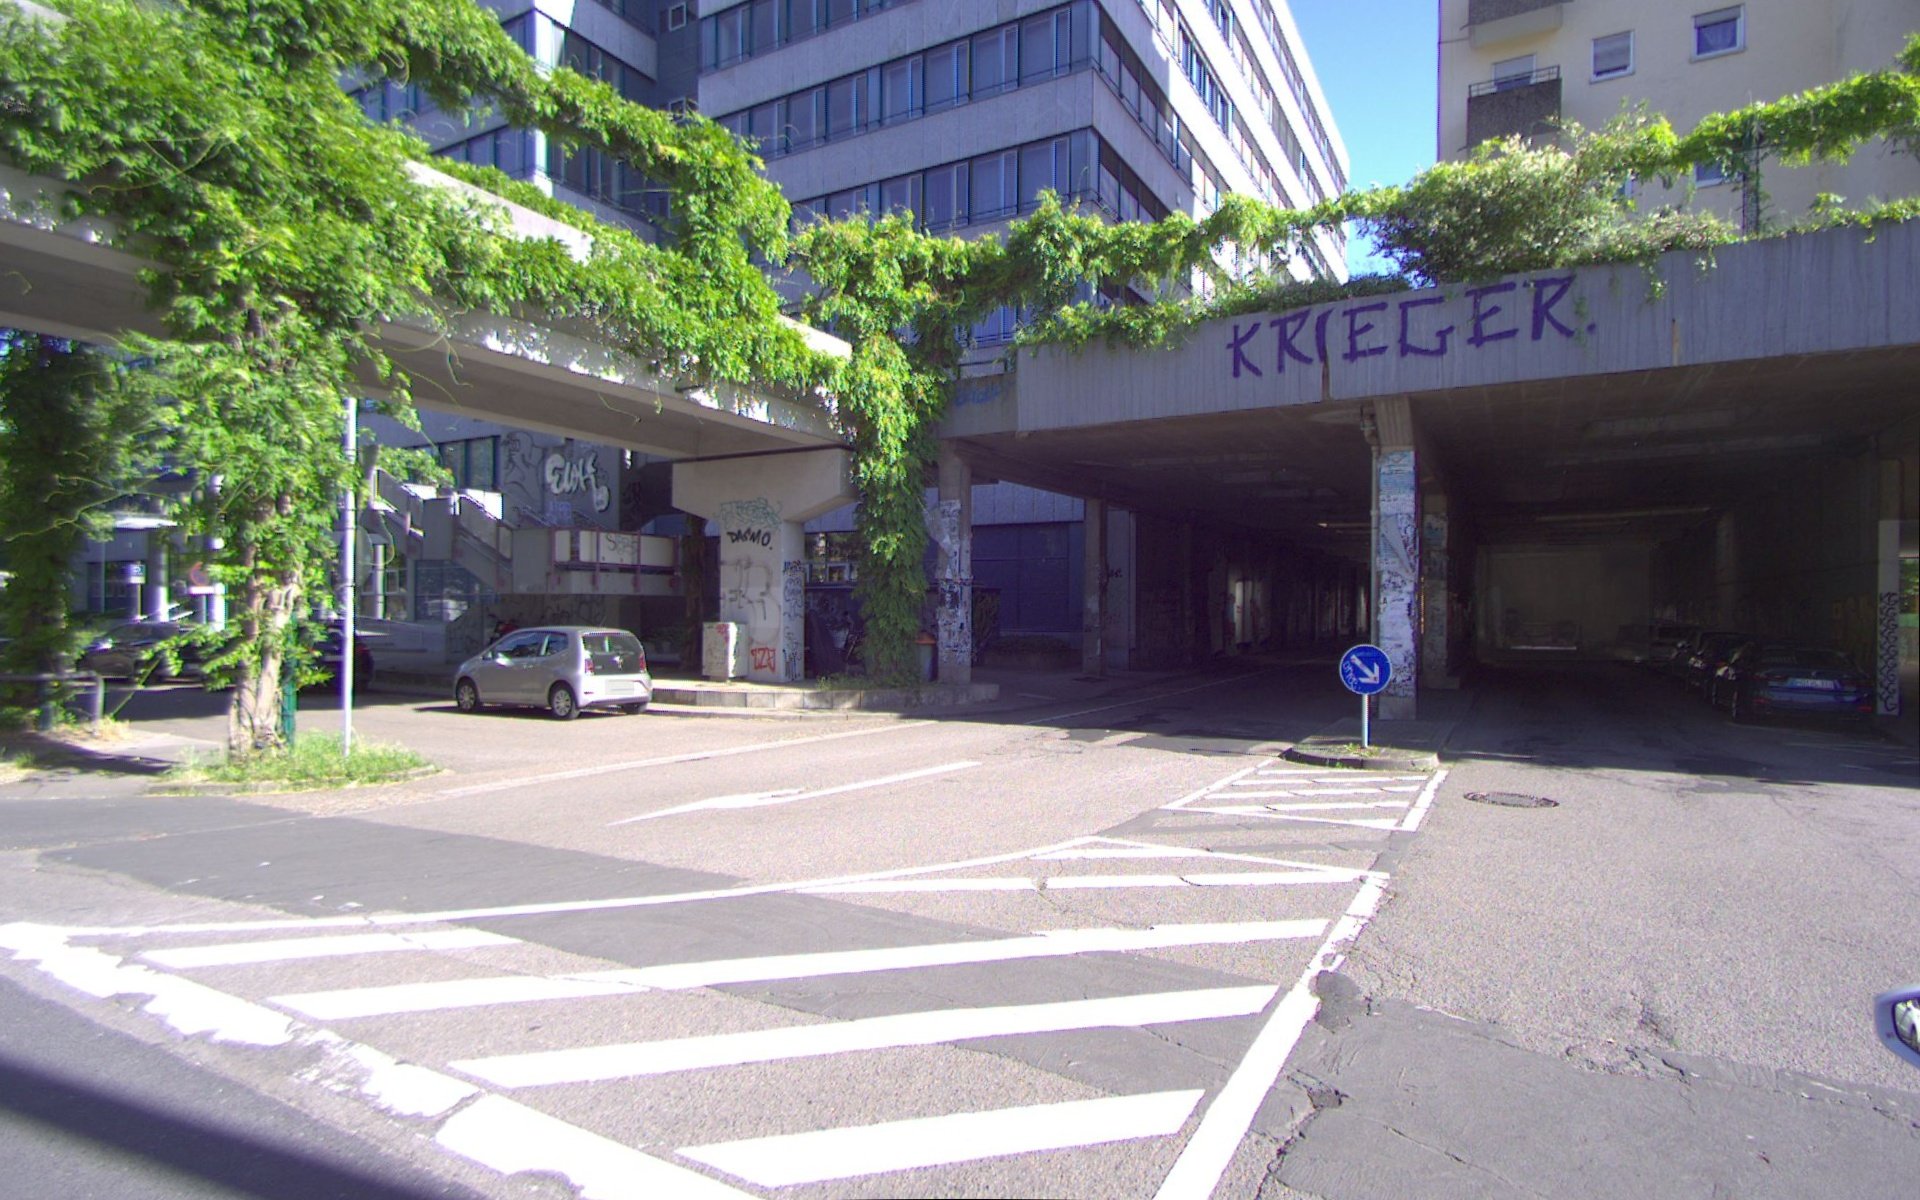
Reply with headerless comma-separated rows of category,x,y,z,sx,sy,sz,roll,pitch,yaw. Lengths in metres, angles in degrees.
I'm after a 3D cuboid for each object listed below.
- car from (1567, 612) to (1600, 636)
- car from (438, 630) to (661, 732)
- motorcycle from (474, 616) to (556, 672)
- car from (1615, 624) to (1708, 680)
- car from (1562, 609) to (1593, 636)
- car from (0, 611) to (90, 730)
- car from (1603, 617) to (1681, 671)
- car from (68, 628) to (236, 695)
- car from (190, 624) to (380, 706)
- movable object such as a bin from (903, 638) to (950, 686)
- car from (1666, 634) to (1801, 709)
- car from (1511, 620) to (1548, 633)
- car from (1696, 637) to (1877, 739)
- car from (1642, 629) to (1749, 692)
car,42.343,1.612,68.293,1.800,1.521,4.202,0,-1,30
car,-6.968,1.290,17.000,3.582,1.506,1.609,0,-1,29
motorcycle,-10.726,1.027,24.178,2.016,1.287,0.730,0,-1,29
car,21.225,1.525,30.523,1.703,1.566,4.151,0,-1,26
car,45.654,1.637,74.334,1.788,1.907,4.577,-1,-1,30
car,-14.187,0.937,14.150,3.712,1.558,1.743,0,-3,30
car,23.829,1.477,35.235,1.825,1.688,4.363,1,0,29
car,-19.072,1.402,23.710,3.730,1.422,1.685,0,-1,27
car,-14.143,1.295,21.028,3.928,1.550,1.735,0,-1,30
movable object such as a bin,-0.665,1.218,19.917,0.706,0.917,0.640,0,-1,28
car,16.977,1.497,22.239,1.735,1.429,4.057,0,-1,29
car,70.938,3.267,125.117,3.933,1.595,1.635,0,-1,35
car,14.671,1.458,18.104,1.825,1.452,4.597,2,0,31
car,19.299,1.532,26.506,1.578,1.507,3.635,0,-1,25
